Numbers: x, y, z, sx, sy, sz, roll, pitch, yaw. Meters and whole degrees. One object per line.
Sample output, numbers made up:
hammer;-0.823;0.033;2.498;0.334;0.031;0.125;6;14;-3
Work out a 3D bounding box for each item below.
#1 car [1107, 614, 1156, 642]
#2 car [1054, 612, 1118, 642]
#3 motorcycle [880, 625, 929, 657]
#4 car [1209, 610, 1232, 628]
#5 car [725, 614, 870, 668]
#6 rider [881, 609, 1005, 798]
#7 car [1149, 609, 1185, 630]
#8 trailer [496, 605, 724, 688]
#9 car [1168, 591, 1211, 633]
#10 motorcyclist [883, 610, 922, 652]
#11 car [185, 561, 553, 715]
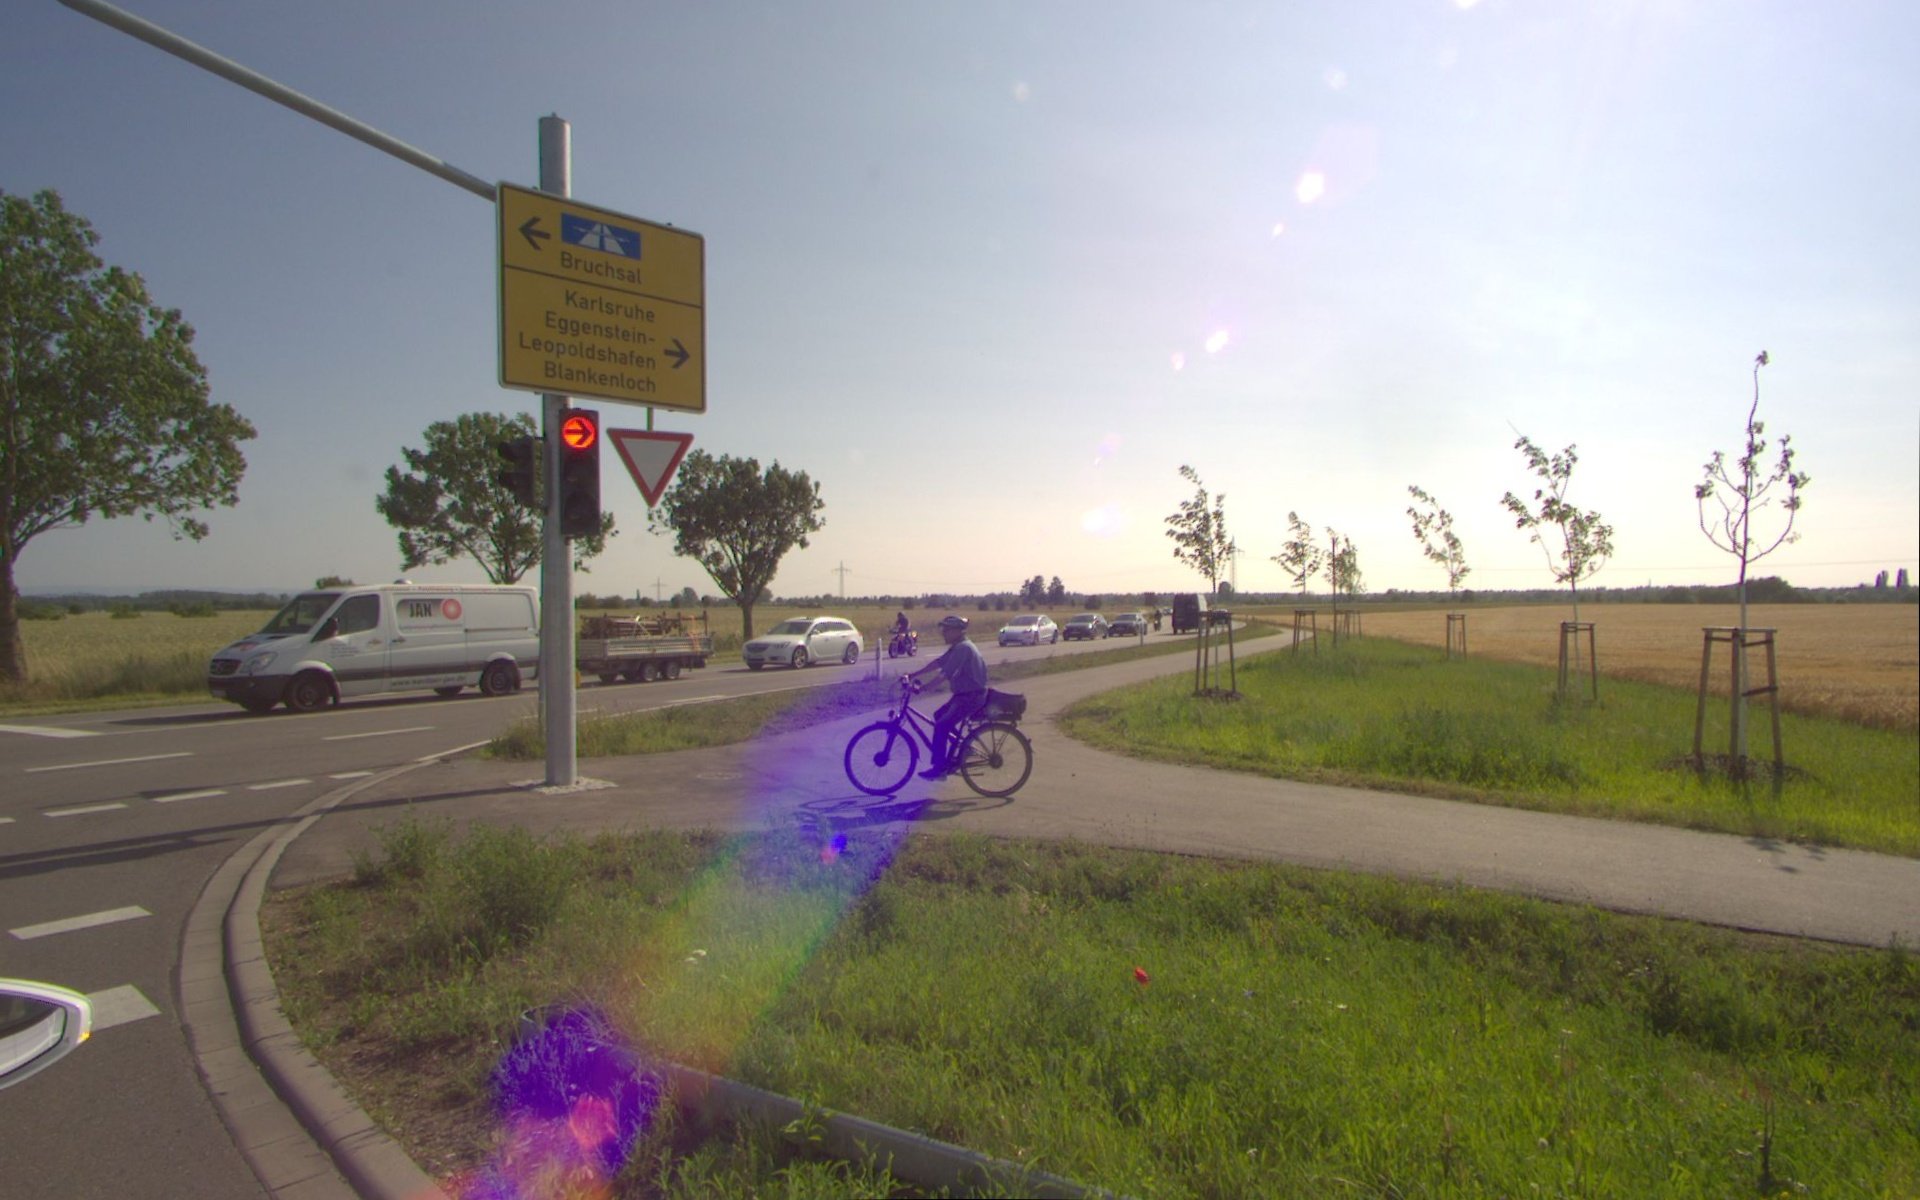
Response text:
car;11.102;1.823;64.446;1.967;1.712;4.872;-1;-2;24
car;7.237;1.553;57.185;1.991;1.609;4.866;-2;-3;28
motorcycle;-2.032;1.493;36.791;0.836;1.133;2.140;0;-2;26
car;22.788;1.649;87.536;1.698;1.476;3.731;0;1;19
car;-4.903;1.259;30.969;1.969;1.529;4.868;-2;-3;27
rider;-0.174;0.928;9.425;0.973;1.665;0.820;0;1;-17
car;16.079;1.537;77.641;1.679;1.544;3.987;-1;-2;27
trailer;-8.299;1.039;24.346;1.925;1.776;5.254;-1;-1;30
car;15.588;0.800;67.839;1.999;2.656;5.736;0;0;21
motorcyclist;-2.110;1.135;36.607;1.013;1.479;1.067;0;-1;27
car;-11.148;0.654;19.526;1.971;2.525;5.947;-2;-1;31
